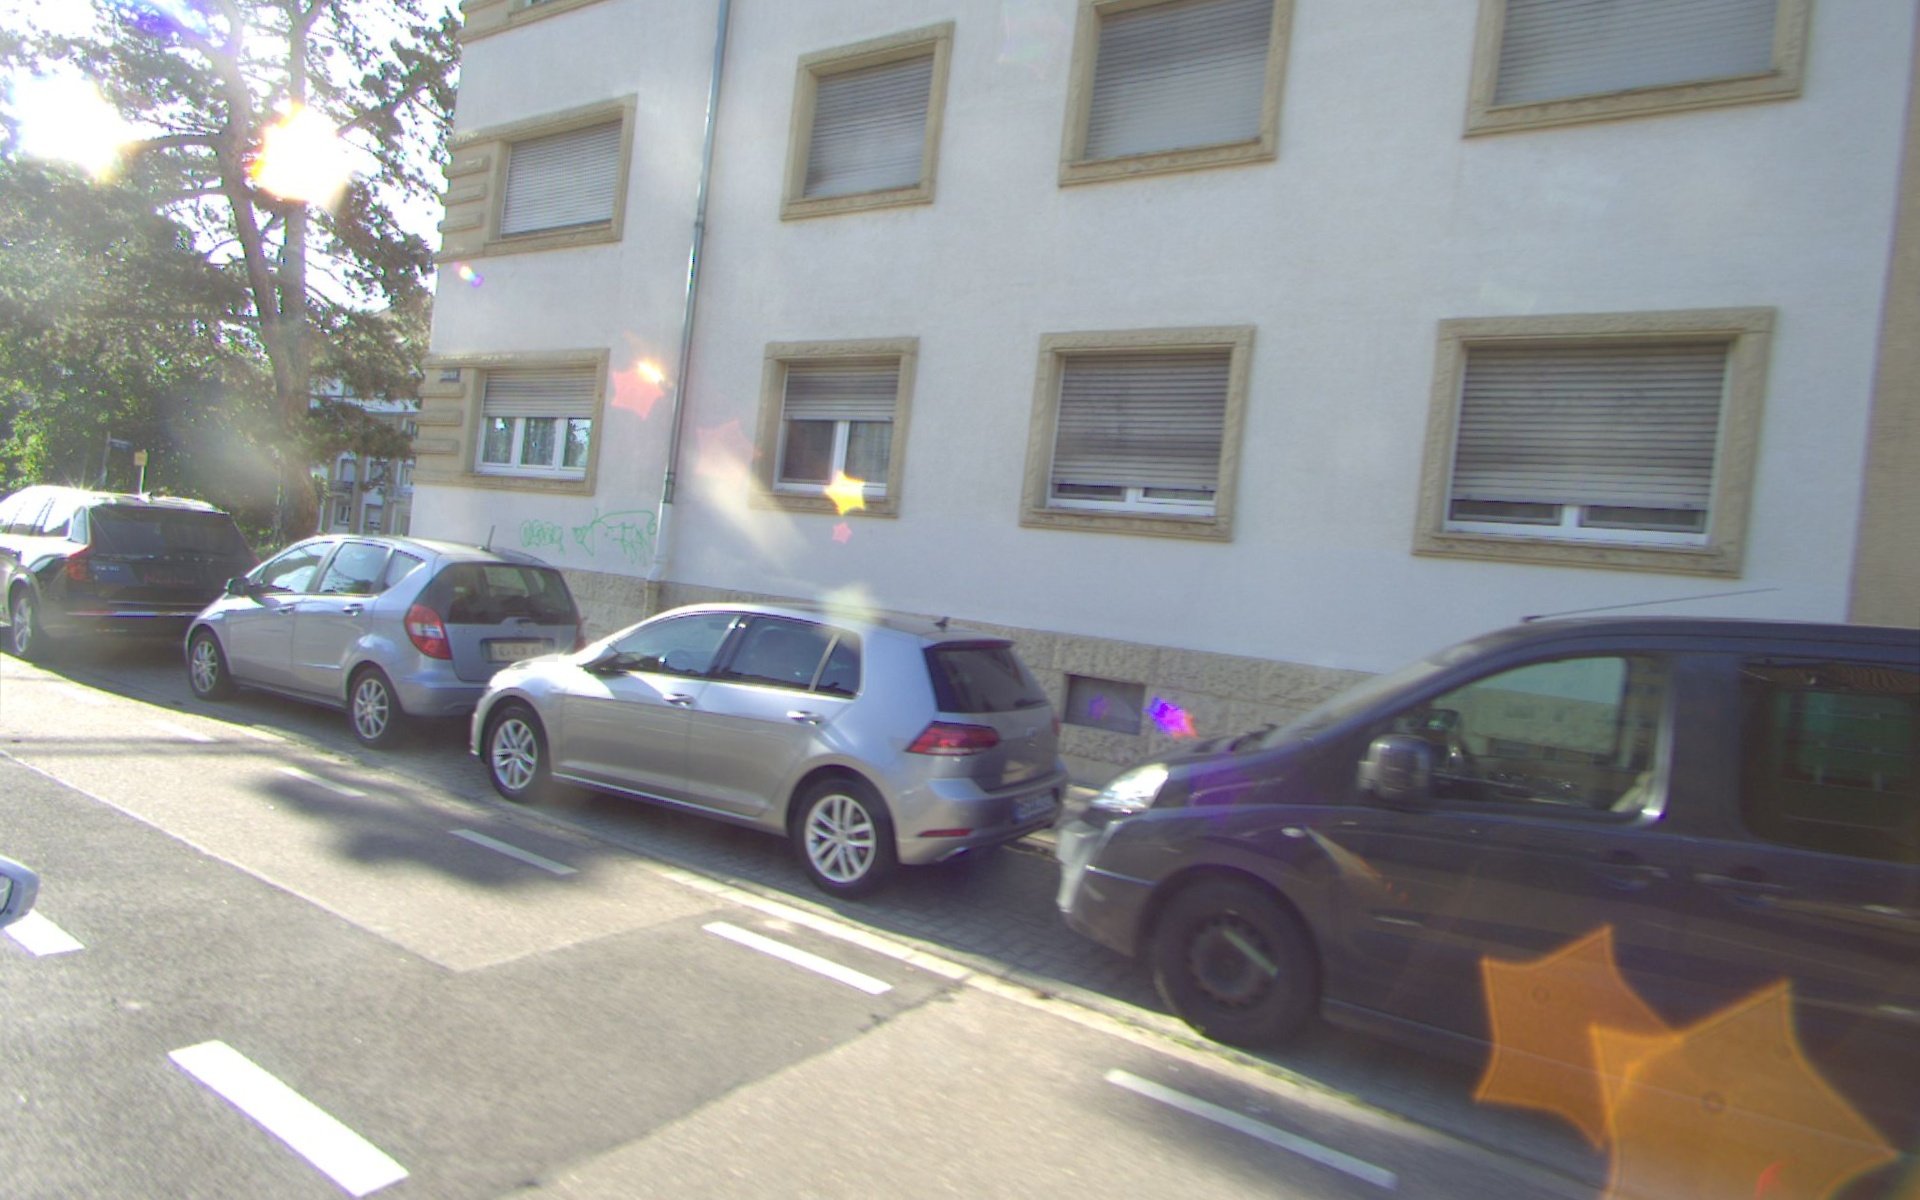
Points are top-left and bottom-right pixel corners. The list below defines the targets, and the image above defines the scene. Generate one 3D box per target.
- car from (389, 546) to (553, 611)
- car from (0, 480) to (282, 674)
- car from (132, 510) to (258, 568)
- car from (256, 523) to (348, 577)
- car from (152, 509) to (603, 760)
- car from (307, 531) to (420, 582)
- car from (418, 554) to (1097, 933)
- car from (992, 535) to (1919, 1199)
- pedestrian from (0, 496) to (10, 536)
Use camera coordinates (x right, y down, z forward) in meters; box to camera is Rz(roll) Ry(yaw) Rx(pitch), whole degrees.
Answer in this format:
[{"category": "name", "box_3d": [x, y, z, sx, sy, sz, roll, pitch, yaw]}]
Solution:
[{"category": "car", "box_3d": [-15.073, -0.611, 31.087, 4.265, 1.518, 1.754, 7, -3, -36]}, {"category": "car", "box_3d": [-9.904, -0.384, 11.363, 4.852, 1.740, 1.879, 7, 2, 32]}, {"category": "car", "box_3d": [-26.677, -2.126, 35.099, 3.737, 1.513, 1.641, 7, 0, 20]}, {"category": "car", "box_3d": [-24.400, -1.879, 37.265, 3.748, 1.592, 1.452, 7, 1, 35]}, {"category": "car", "box_3d": [-5.168, 0.201, 8.833, 3.829, 1.599, 1.595, 6, 2, 28]}, {"category": "car", "box_3d": [-23.030, -1.680, 38.806, 4.166, 1.458, 1.639, 7, 0, 26]}, {"category": "car", "box_3d": [-1.413, 0.676, 6.443, 4.165, 1.497, 1.512, 6, 1, 29]}, {"category": "car", "box_3d": [2.863, 0.944, 3.942, 5.049, 1.925, 1.913, 6, 2, 31]}, {"category": "pedestrian", "box_3d": [-34.067, -3.013, 35.370, 0.681, 1.388, 0.749, 9, -2, -32]}]
